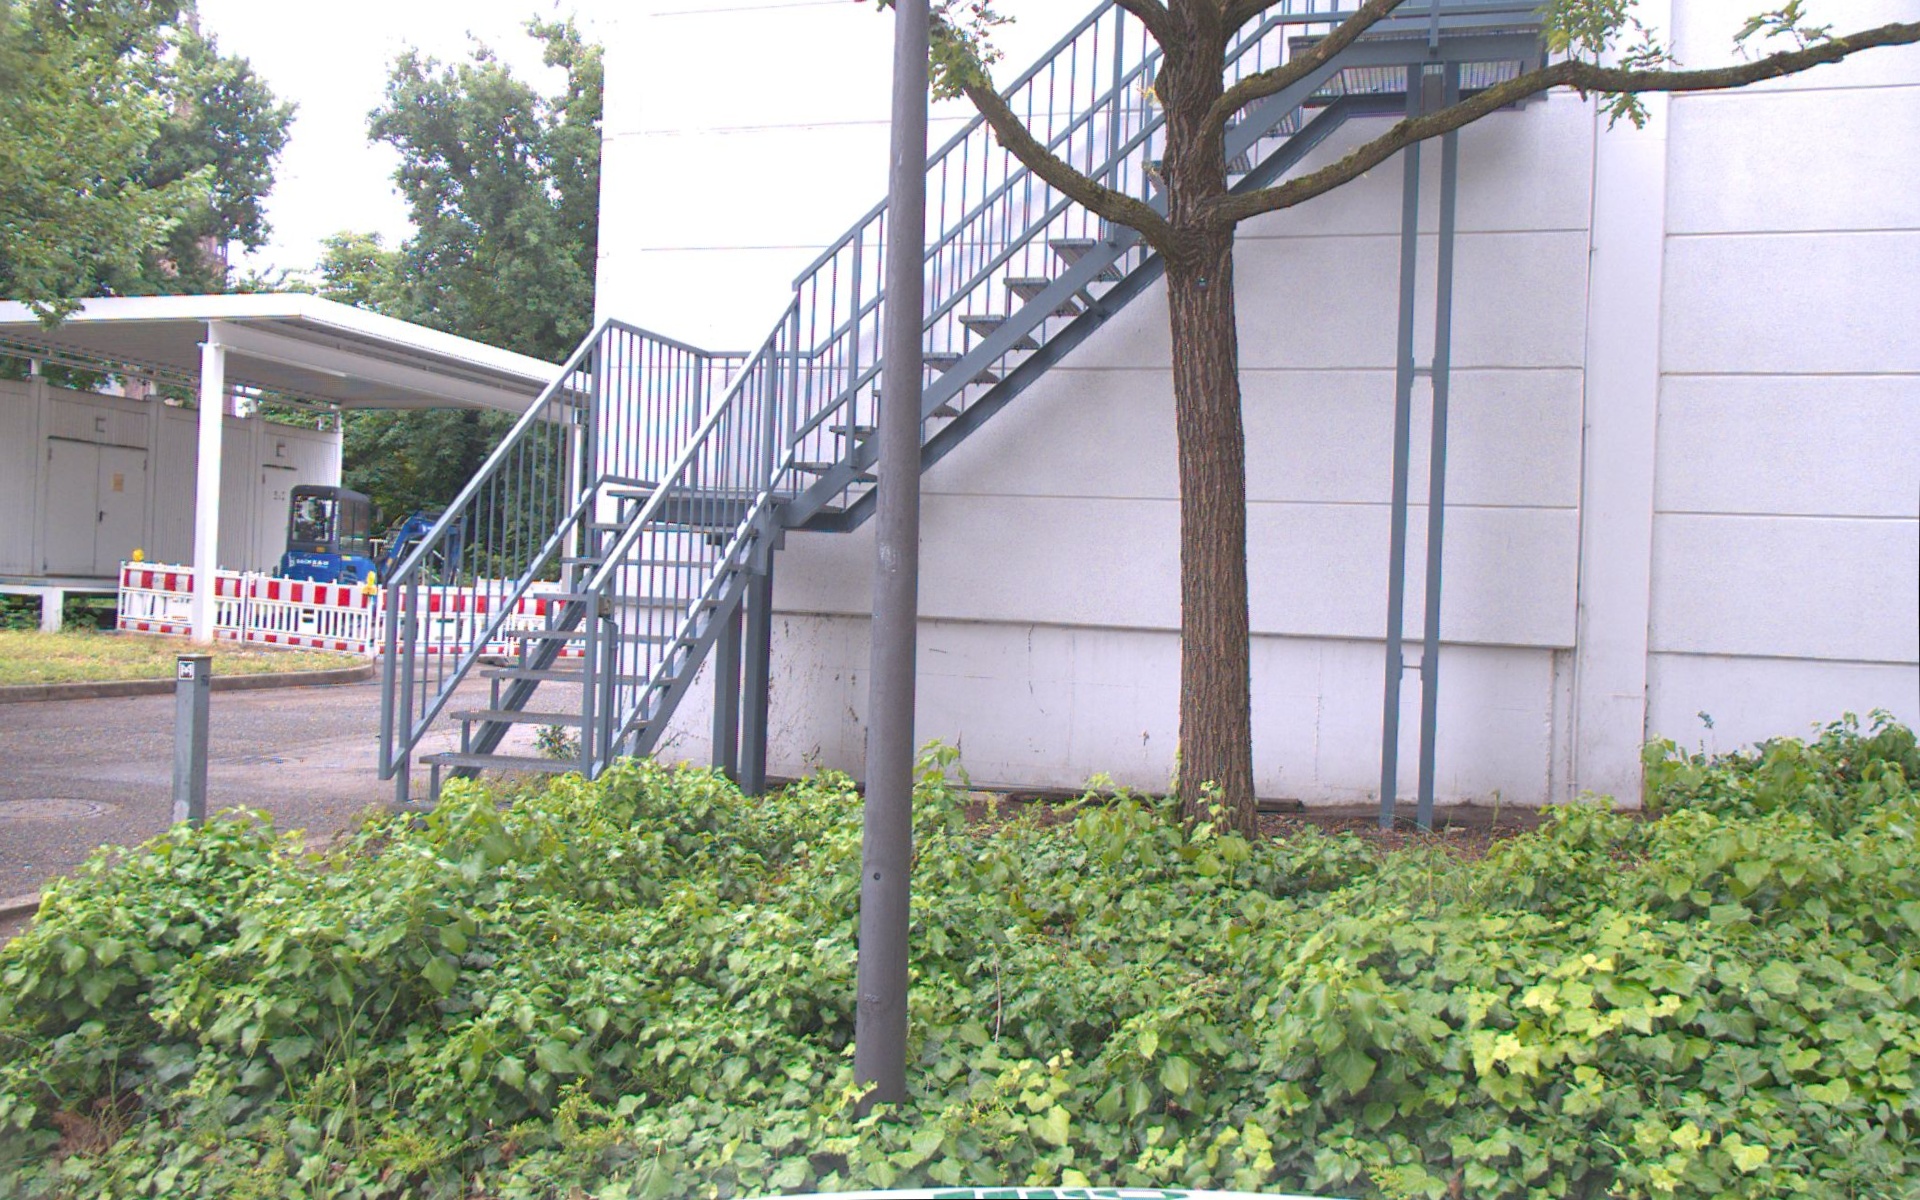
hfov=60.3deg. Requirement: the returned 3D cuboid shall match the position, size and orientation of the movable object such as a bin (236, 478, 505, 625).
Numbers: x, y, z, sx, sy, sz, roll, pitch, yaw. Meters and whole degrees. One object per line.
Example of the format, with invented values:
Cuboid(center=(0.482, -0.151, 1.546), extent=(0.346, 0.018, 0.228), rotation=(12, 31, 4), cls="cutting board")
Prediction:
Cuboid(center=(-9.721, -0.724, 27.737), extent=(1.951, 2.209, 4.674), rotation=(2, 0, 14), cls="movable object such as a bin")
